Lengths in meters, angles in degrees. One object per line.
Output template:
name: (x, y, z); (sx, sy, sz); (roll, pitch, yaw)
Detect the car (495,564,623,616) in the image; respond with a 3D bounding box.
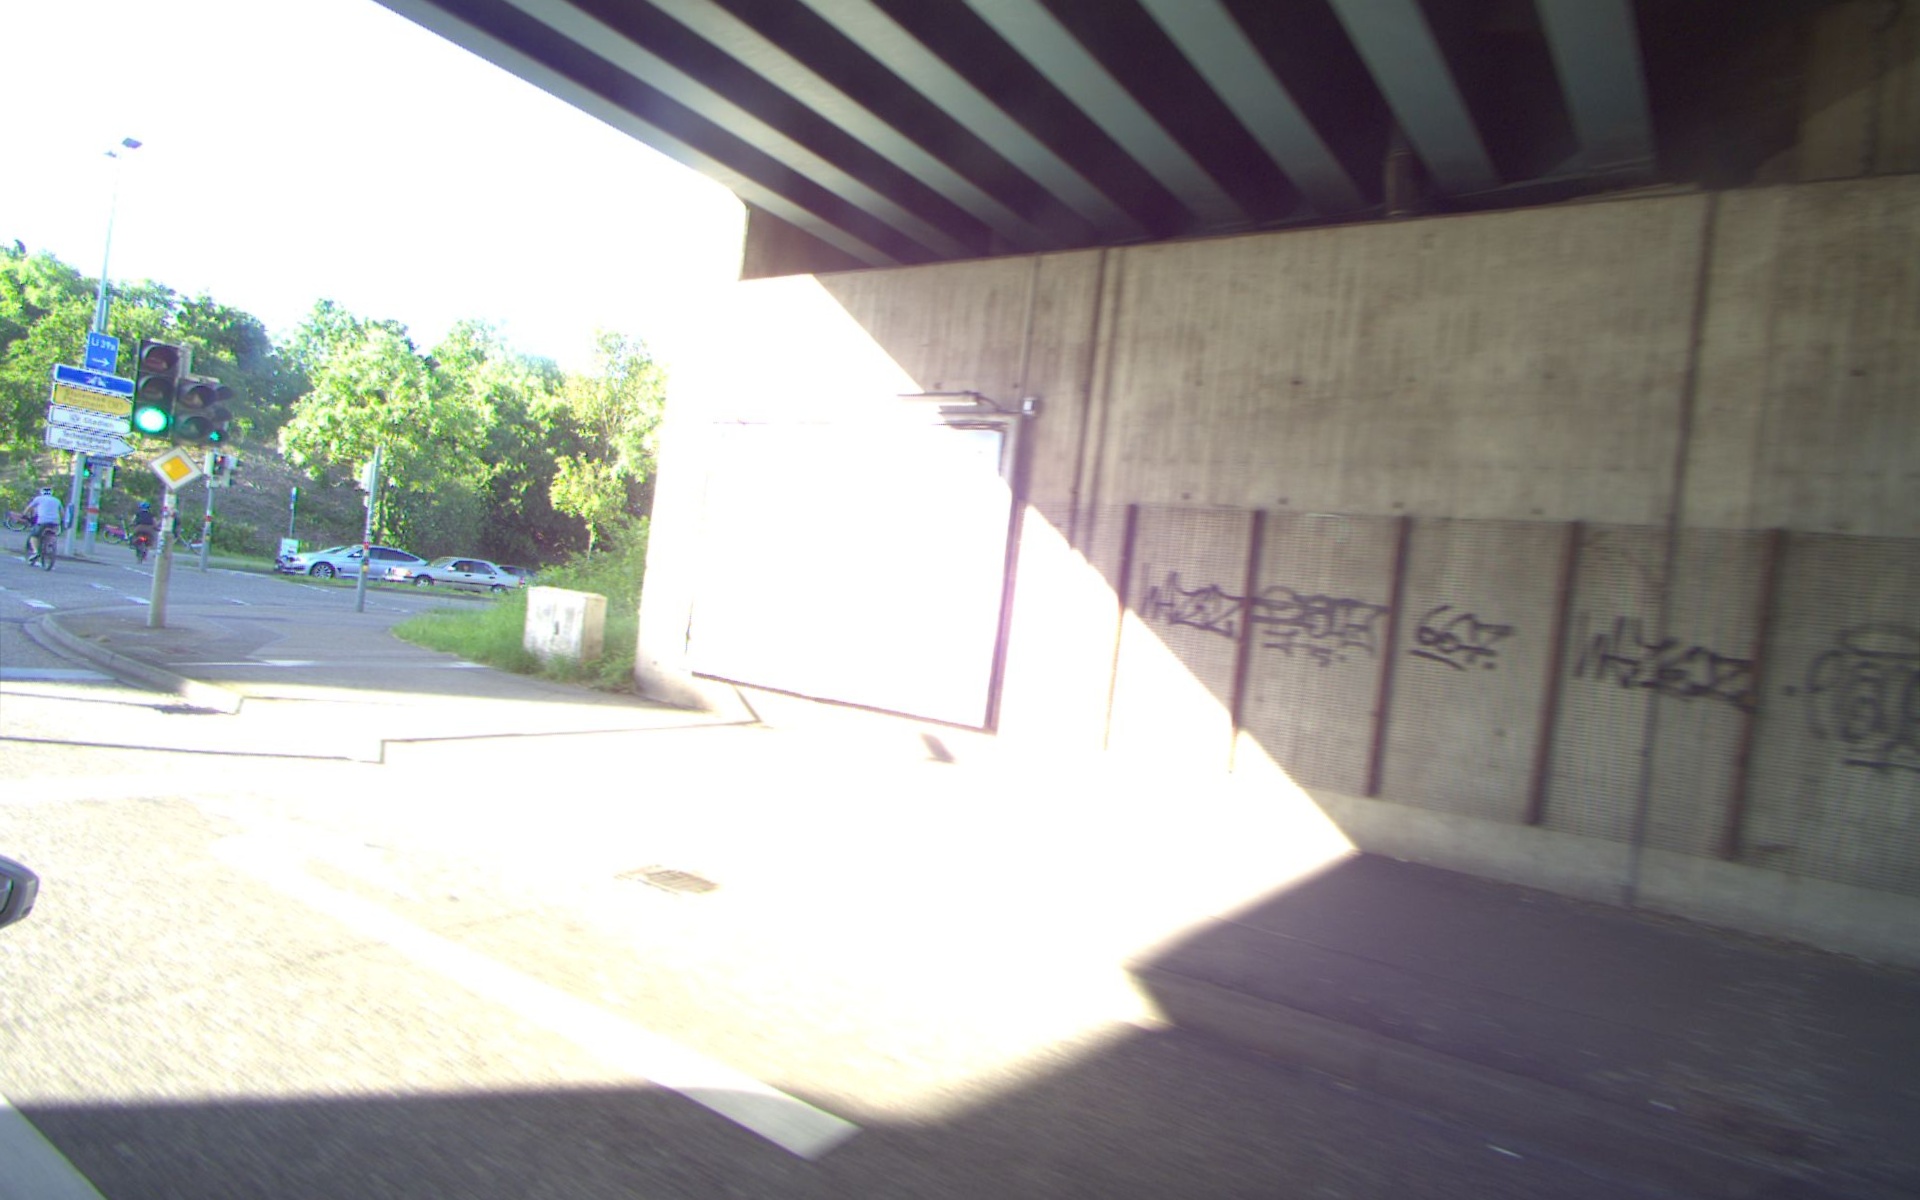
car: (-16.630, -0.375, 41.933); (1.801, 1.531, 4.549); (5, -3, 38)

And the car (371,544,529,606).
car: (-17.879, -0.851, 35.443); (1.801, 1.531, 4.549); (5, -3, 38)

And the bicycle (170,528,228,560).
bicycle: (-31.326, -2.296, 41.449); (0.586, 1.035, 1.743); (5, -3, 42)

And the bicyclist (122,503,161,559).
bicyclist: (-23.821, -2.000, 29.268); (0.741, 1.491, 0.664); (5, -2, 43)

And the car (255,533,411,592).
car: (-23.458, -1.382, 37.782); (1.801, 1.531, 4.549); (5, -3, 38)

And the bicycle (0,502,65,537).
bicycle: (-35.704, -3.079, 38.704); (0.585, 1.035, 1.744); (5, -3, 40)

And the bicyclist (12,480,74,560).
bicyclist: (-19.225, -1.678, 21.090); (0.756, 1.566, 0.593); (5, -2, 28)

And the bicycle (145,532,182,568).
bicycle: (-26.317, -1.658, 33.232); (0.666, 1.035, 1.728); (8, -1, -45)

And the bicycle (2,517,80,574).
bicycle: (-19.298, -1.144, 21.117); (1.720, 1.035, 0.593); (5, -2, 28)

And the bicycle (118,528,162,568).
bicycle: (-23.856, -1.521, 29.251); (2.029, 1.035, 0.670); (4, -3, 44)

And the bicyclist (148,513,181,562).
bicyclist: (-26.308, -2.076, 33.272); (0.610, 1.498, 0.648); (7, 0, 44)

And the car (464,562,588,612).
car: (-18.808, -0.542, 43.731); (1.801, 1.531, 4.549); (5, -3, 38)

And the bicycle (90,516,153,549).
bicycle: (-33.313, -2.677, 39.989); (0.585, 1.035, 1.744); (5, -3, 40)

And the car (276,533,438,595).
car: (-21.489, -1.239, 36.016); (1.801, 1.531, 4.549); (5, -3, 38)
